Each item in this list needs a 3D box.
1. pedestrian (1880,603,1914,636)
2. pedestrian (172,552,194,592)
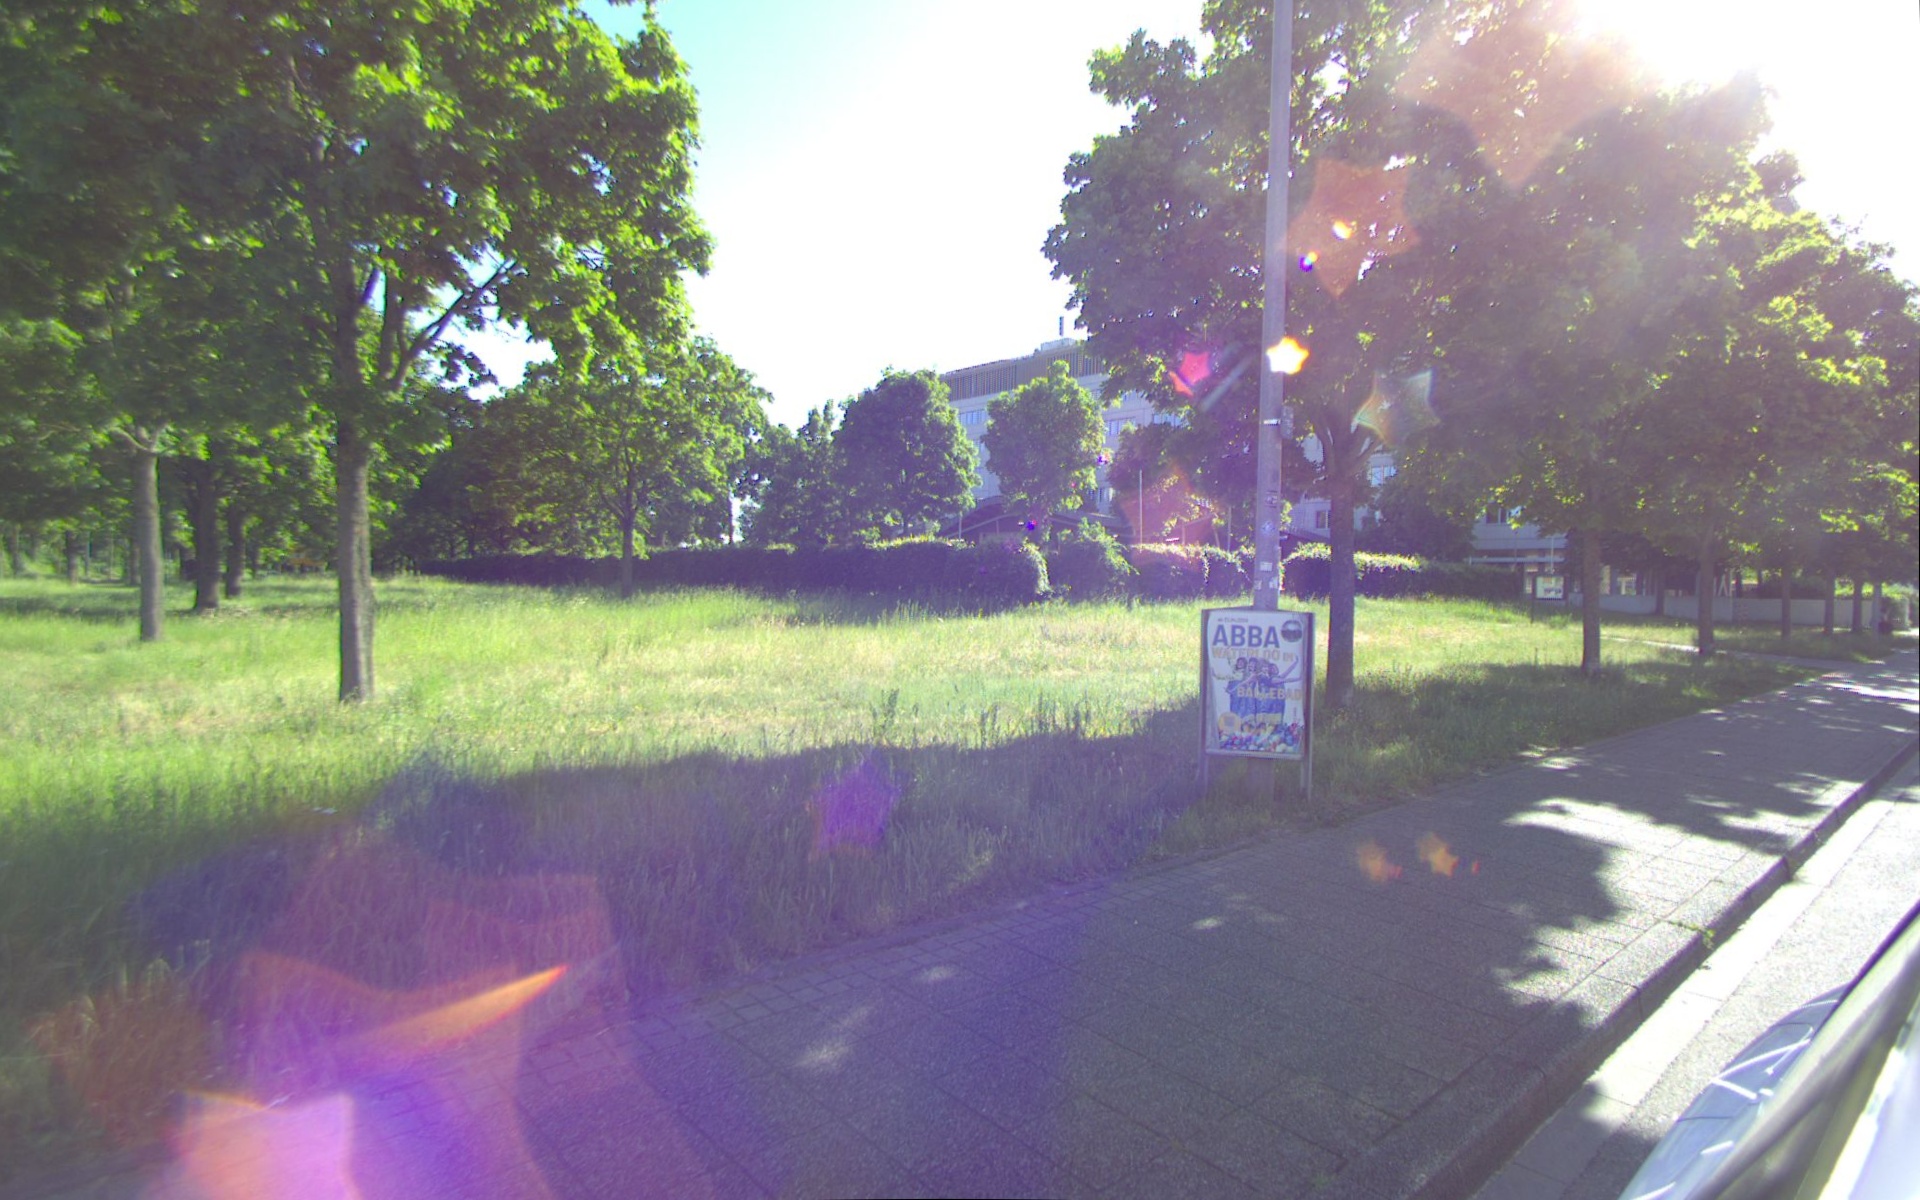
[{"bbox_3d":[36.832,0.740,39.803,0.842,1.232,0.719,3,2,36],"label":"pedestrian"},{"bbox_3d":[-34.753,-1.254,45.261,0.726,1.748,0.888,1,0,-38],"label":"pedestrian"}]
